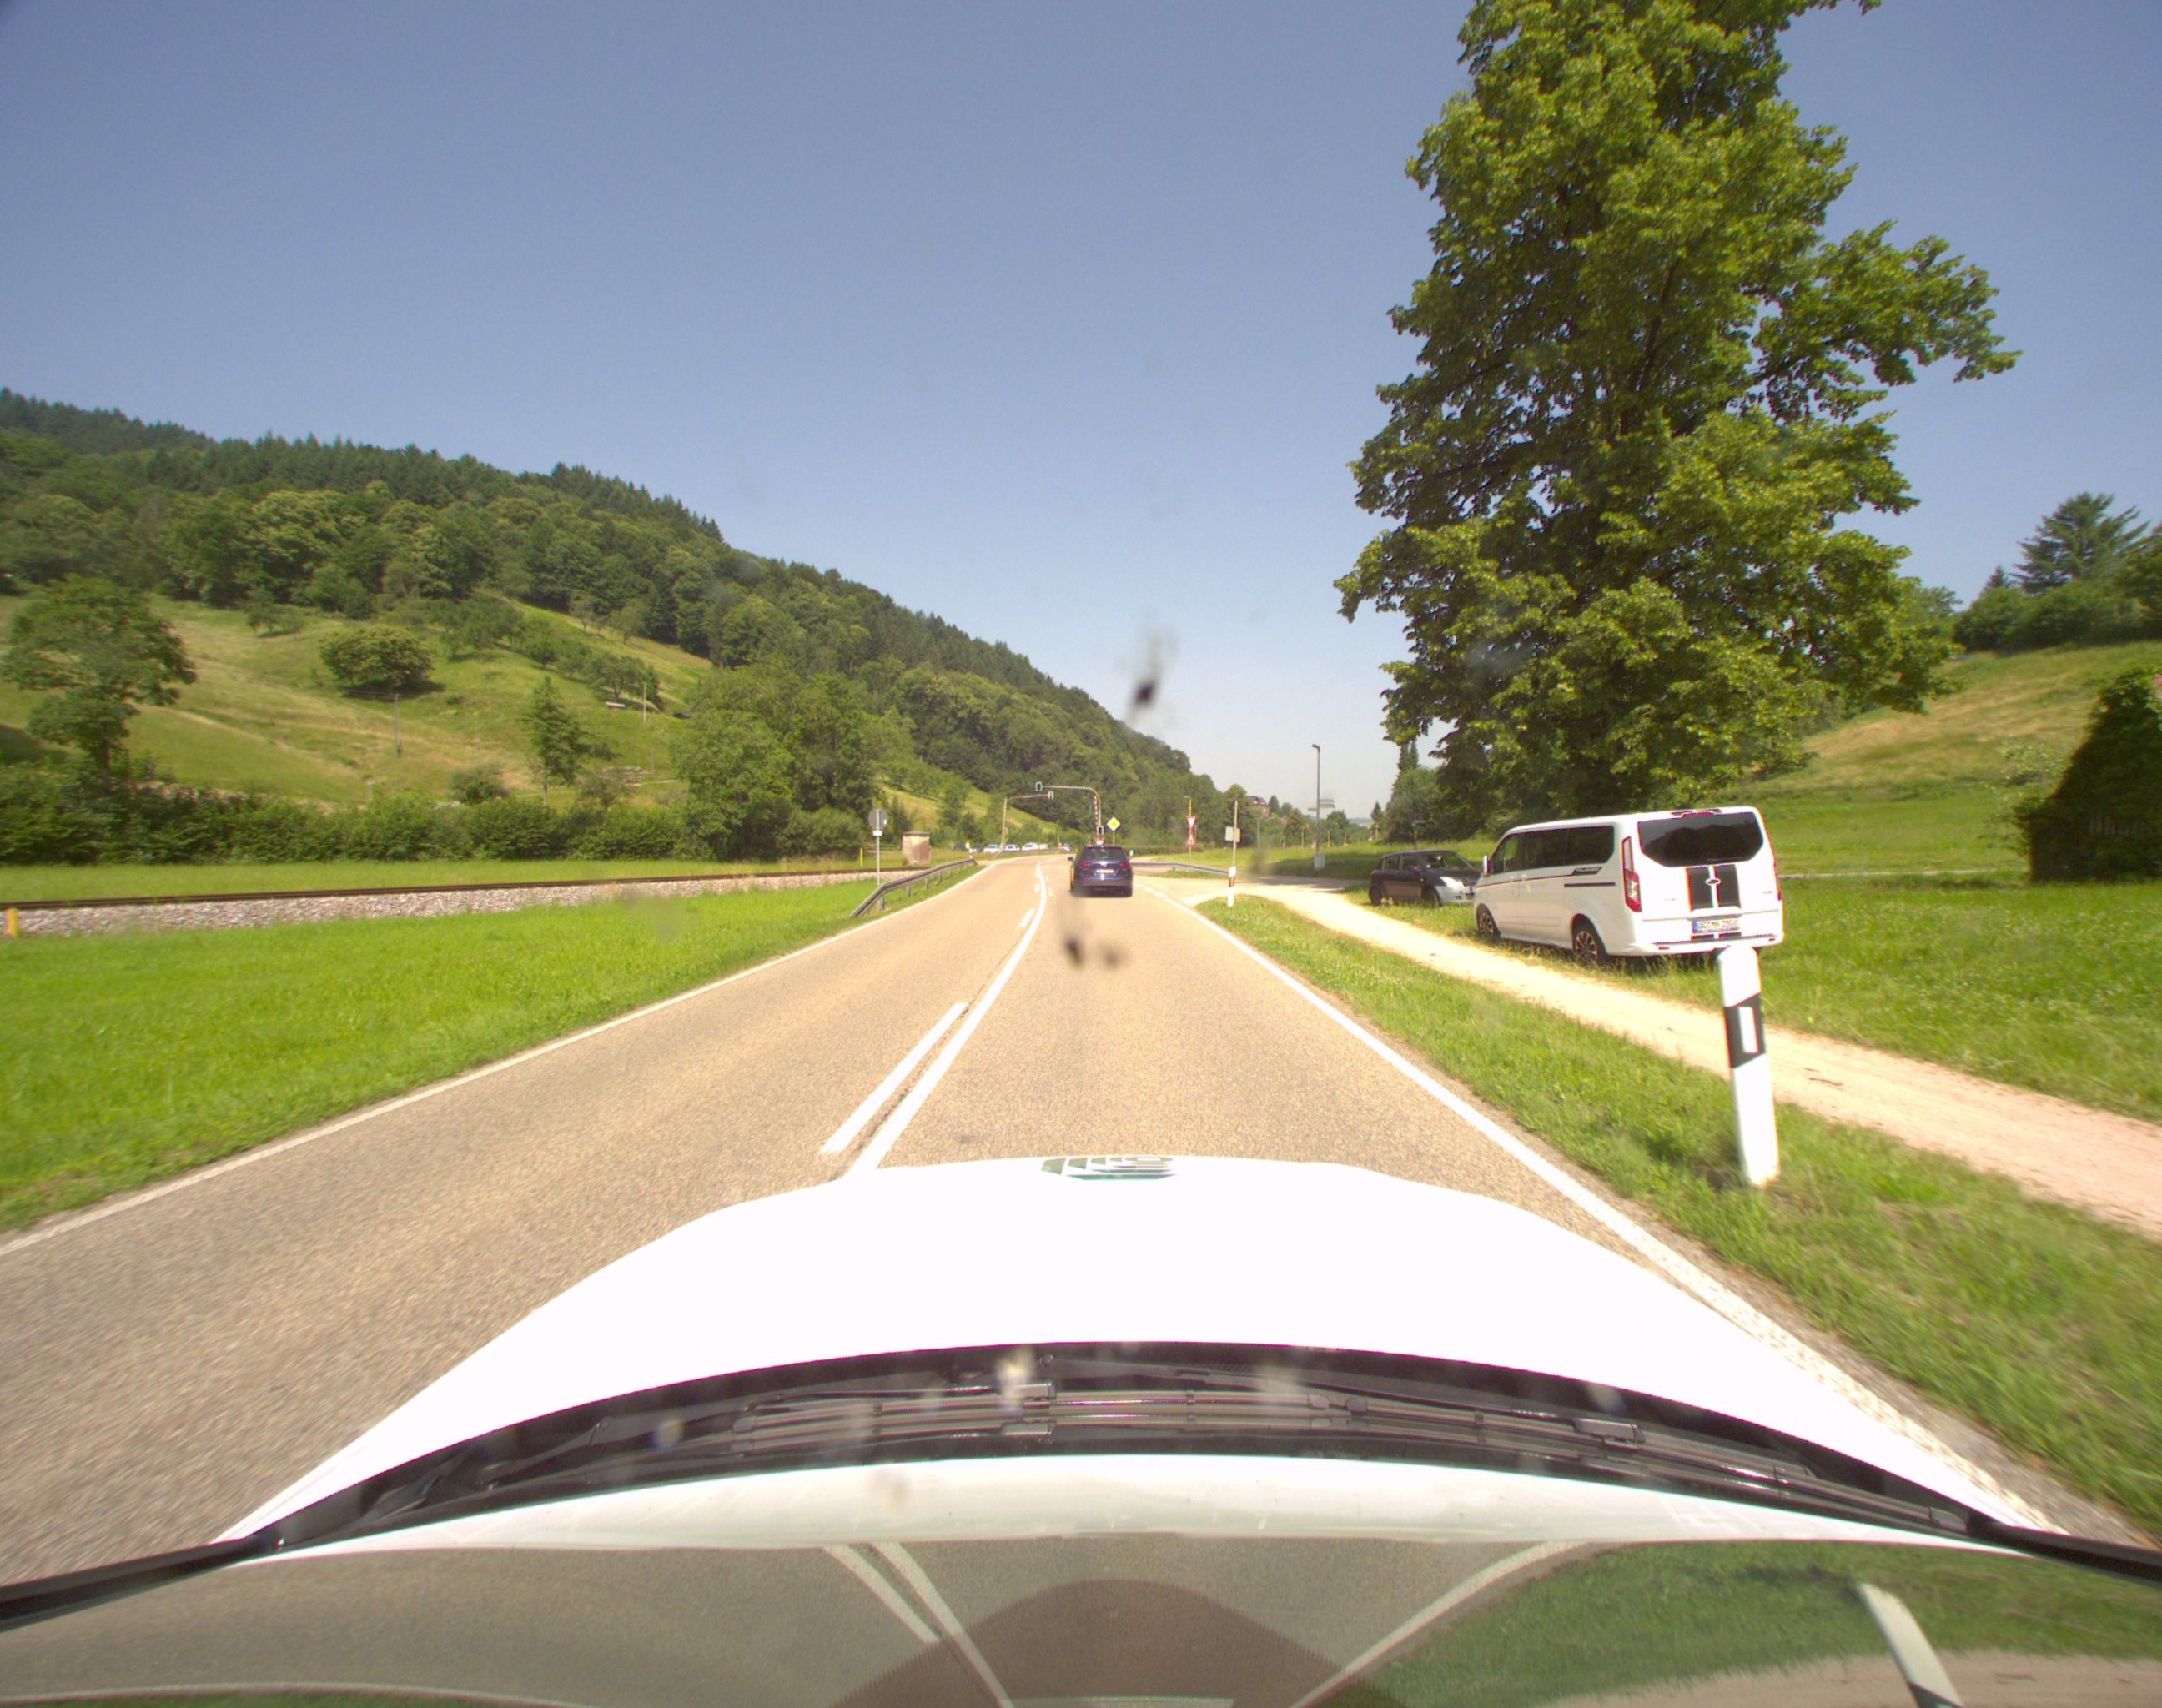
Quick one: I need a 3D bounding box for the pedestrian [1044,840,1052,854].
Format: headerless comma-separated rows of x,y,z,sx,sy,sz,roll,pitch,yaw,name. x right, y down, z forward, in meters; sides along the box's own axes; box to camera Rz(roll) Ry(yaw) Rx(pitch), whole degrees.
-4.435,-0.970,110.124,0.775,1.858,0.641,-1,0,-44,pedestrian

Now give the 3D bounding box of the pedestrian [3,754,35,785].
-84.424,-6.726,64.729,1.078,2.366,1.071,0,1,-4,pedestrian

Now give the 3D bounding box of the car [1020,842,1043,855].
-7.102,-0.809,117.378,1.857,1.782,4.792,0,1,16,car

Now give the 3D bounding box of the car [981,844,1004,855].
-12.690,-0.671,117.436,1.981,1.500,4.535,-1,0,11,car

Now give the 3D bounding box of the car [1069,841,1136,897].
0.606,0.432,26.434,1.848,1.649,4.136,-1,0,-3,car

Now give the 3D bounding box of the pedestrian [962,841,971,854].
-15.718,-0.859,111.561,0.949,1.794,1.002,-1,0,7,pedestrian

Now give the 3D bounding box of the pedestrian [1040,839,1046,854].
-5.123,-1.022,109.861,0.657,1.954,0.533,-1,0,3,pedestrian

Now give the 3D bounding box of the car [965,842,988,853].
-15.102,-0.889,118.114,1.981,1.500,4.535,2,1,11,car

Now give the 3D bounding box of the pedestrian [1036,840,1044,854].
-5.510,-0.933,110.008,0.761,1.796,0.799,-1,0,39,pedestrian

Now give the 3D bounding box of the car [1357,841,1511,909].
8.675,0.507,20.361,1.674,1.457,3.701,-3,-1,-11,car

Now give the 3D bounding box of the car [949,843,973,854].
-17.496,-0.804,118.810,1.981,1.500,4.535,-1,0,11,car

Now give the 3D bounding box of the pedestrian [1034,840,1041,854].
-5.846,-0.950,109.269,0.781,1.842,0.702,-1,0,23,pedestrian

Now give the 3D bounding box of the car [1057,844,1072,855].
-2.305,-0.596,114.716,1.818,1.500,4.281,-1,0,3,car

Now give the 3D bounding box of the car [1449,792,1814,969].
7.371,0.286,11.717,1.991,1.848,4.872,-5,0,3,car

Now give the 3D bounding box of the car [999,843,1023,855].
-9.994,-0.721,117.343,1.980,1.641,4.919,-1,0,13,car
